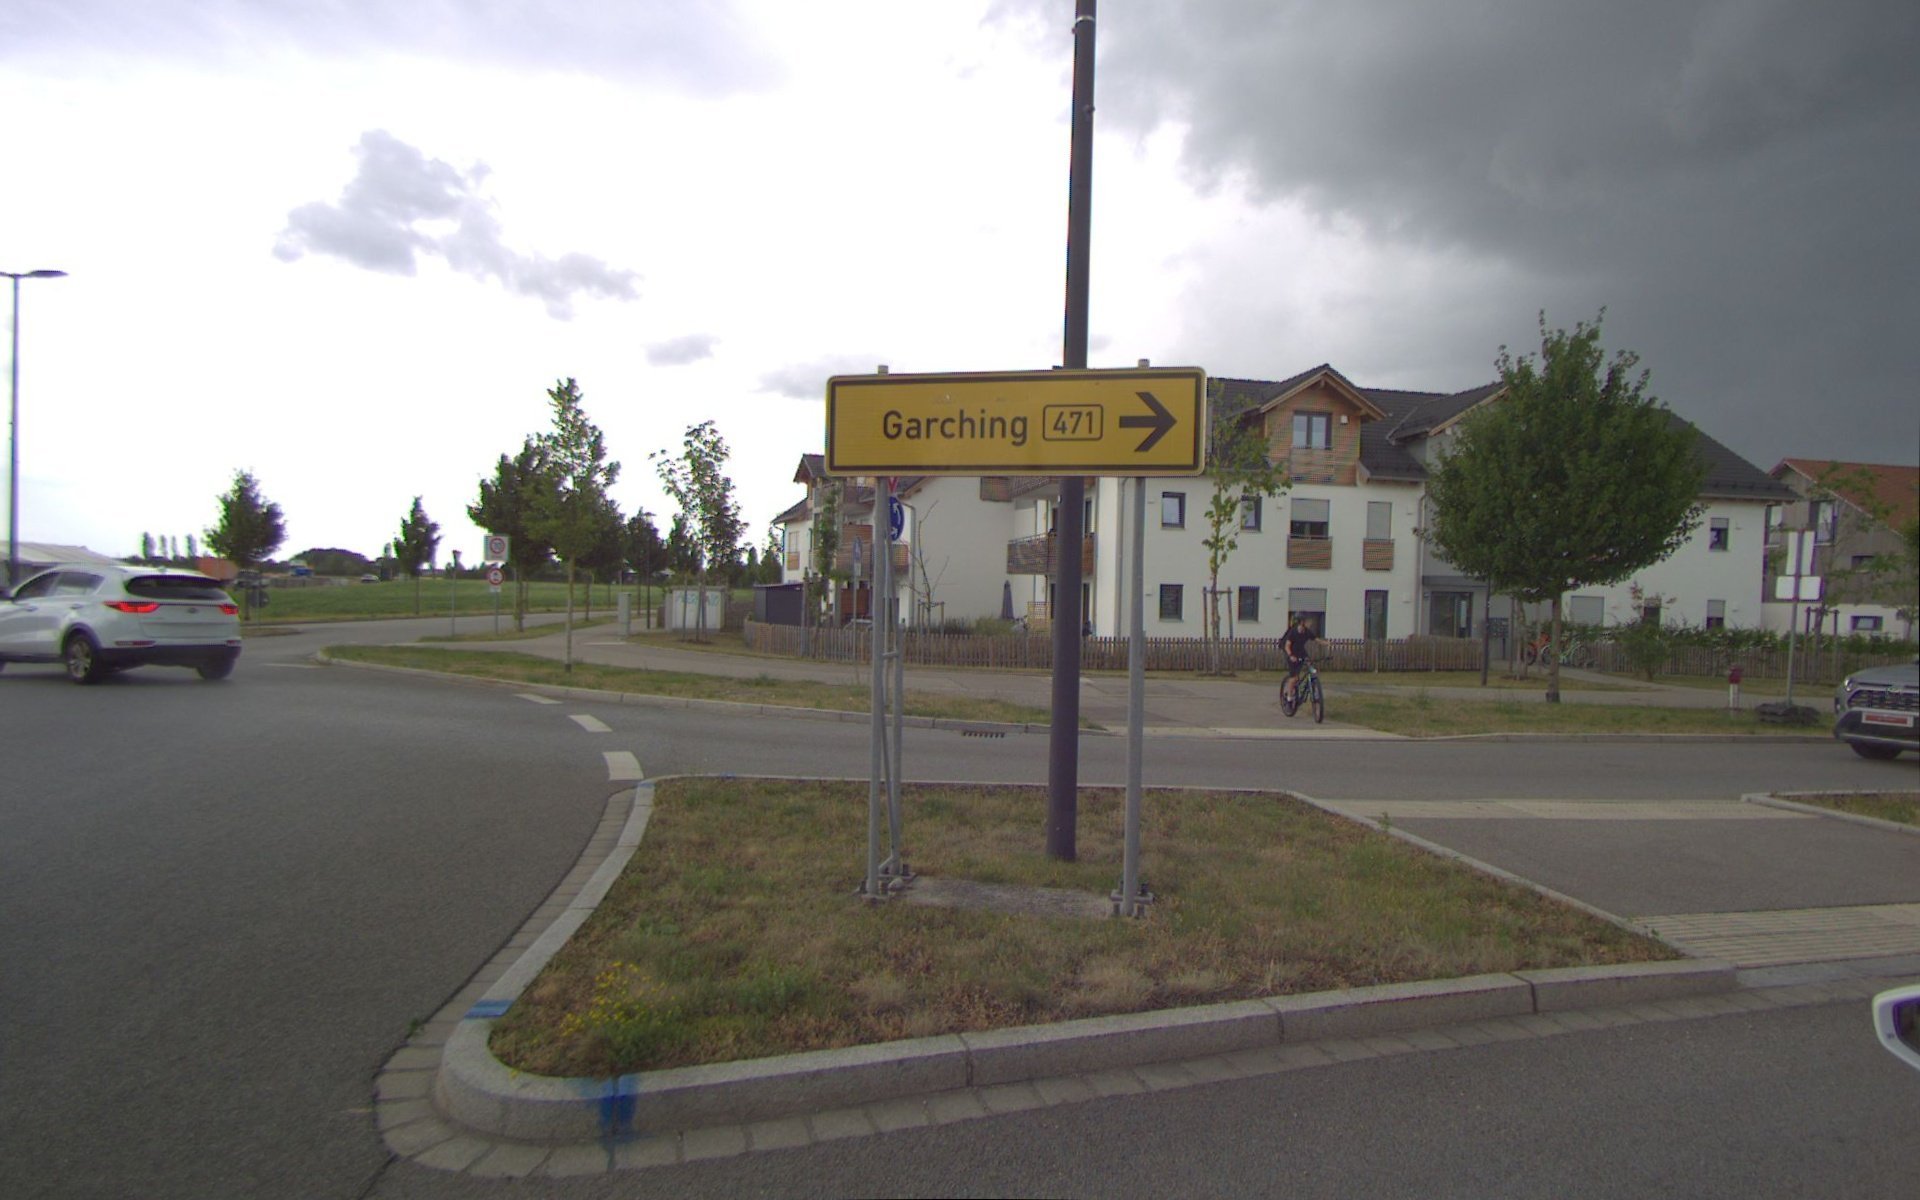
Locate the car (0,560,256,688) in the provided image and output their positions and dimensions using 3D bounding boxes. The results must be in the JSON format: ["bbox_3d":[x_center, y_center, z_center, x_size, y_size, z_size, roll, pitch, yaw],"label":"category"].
[{"bbox_3d":[-12.778,0.293,14.916,4.365,1.647,1.713,2,-1,23],"label":"car"}]

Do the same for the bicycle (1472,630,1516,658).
[{"bbox_3d":[18.024,1.485,33.900,1.313,0.854,0.368,2,3,-10],"label":"bicycle"}]

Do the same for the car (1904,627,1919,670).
[{"bbox_3d":[42.841,2.157,42.403,4.382,1.795,1.998,2,1,-7],"label":"car"}]

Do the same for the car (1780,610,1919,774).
[{"bbox_3d":[12.253,1.036,11.510,4.553,1.726,1.996,2,-1,-11],"label":"car"}]

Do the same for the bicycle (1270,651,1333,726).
[{"bbox_3d":[4.937,1.252,14.596,0.487,0.959,1.715,1,-1,6],"label":"bicycle"}]

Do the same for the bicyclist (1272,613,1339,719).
[{"bbox_3d":[4.974,0.934,14.508,0.710,1.466,0.870,1,0,6],"label":"bicyclist"}]

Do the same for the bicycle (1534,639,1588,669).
[{"bbox_3d":[18.585,1.660,31.080,1.519,0.854,0.368,2,3,-10],"label":"bicycle"}]
